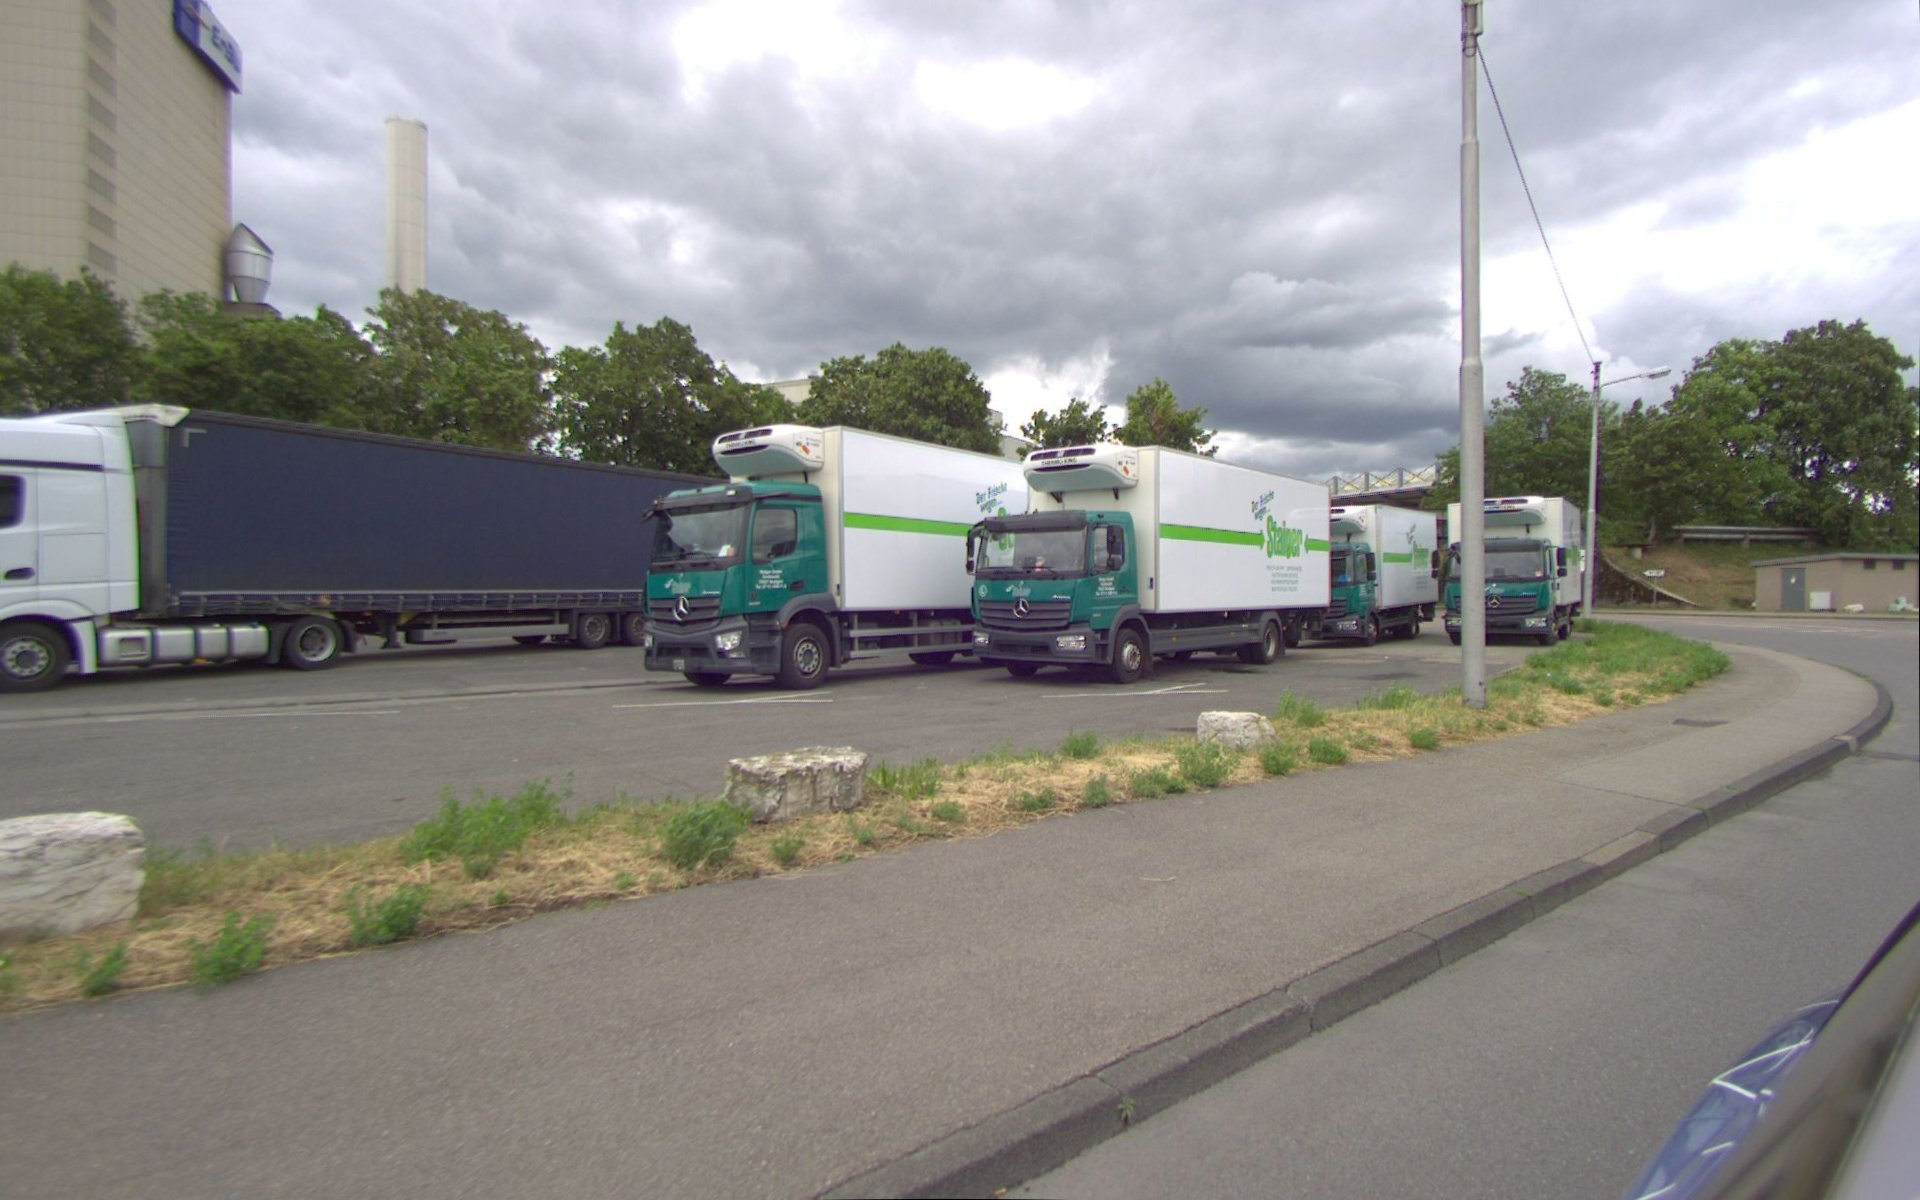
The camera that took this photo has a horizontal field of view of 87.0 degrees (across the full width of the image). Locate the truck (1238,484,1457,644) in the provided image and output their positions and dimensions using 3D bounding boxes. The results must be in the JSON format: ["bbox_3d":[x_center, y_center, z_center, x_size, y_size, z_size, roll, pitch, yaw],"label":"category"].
[{"bbox_3d":[10.909,-0.872,27.837,3.056,3.677,8.485,-3,-1,39],"label":"truck"}]

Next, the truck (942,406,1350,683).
[{"bbox_3d":[4.106,-0.751,19.069,2.974,3.880,10.284,-1,-1,39],"label":"truck"}]

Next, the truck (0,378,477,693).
[{"bbox_3d":[-12.332,-0.941,16.250,3.047,4.051,7.953,3,2,30],"label":"truck"}]

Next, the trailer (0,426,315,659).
[{"bbox_3d":[-19.408,-1.069,17.972,2.692,4.232,13.304,1,1,37],"label":"trailer"}]

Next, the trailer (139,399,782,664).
[{"bbox_3d":[-9.205,-1.035,21.794,3.037,4.027,12.964,1,0,29],"label":"trailer"}]

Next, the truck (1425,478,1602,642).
[{"bbox_3d":[15.081,-0.961,27.166,3.054,3.677,8.493,-1,0,36],"label":"truck"}]

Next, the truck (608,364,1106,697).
[{"bbox_3d":[-1.098,-1.002,18.749,2.970,4.489,10.422,-1,0,36],"label":"truck"}]
